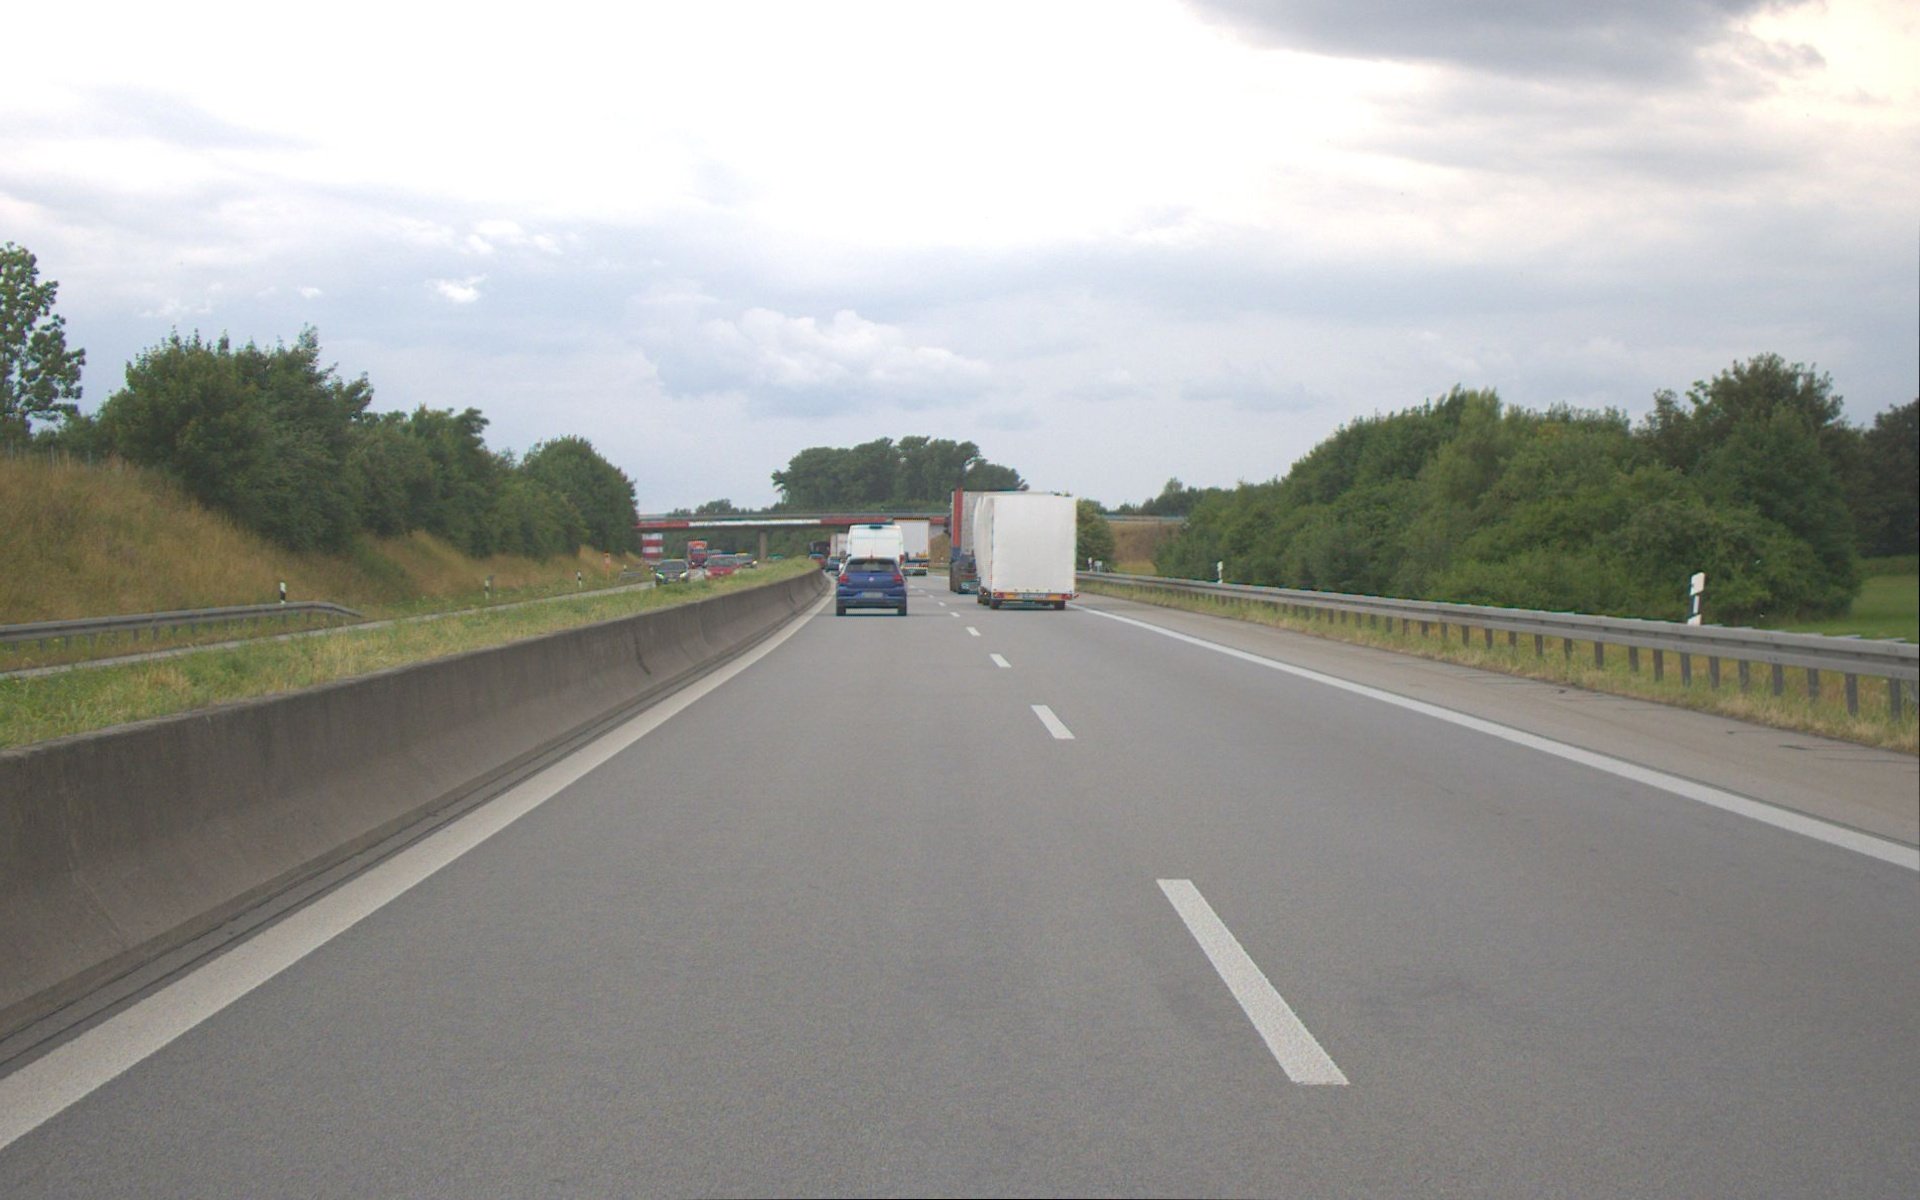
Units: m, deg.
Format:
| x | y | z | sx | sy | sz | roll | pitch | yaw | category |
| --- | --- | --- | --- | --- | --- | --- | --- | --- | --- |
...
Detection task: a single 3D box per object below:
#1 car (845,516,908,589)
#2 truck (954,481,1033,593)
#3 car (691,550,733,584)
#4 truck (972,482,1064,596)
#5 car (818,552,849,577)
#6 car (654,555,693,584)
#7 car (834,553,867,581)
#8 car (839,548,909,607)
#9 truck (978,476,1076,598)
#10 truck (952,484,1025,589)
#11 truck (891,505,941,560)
| x | y | z | sx | sy | sz | roll | pitch | yaw | category |
| --- | --- | --- | --- | --- | --- | --- | --- | --- | --- |
| -2.976 | -1.675 | 121.127 | 2.130 | 2.474 | 5.840 | -1 | 1 | -2 | car |
| 1.198 | -2.410 | 130.890 | 2.673 | 4.032 | 11.108 | -1 | 1 | -1 | truck |
| -12.402 | -1.664 | 171.996 | 1.845 | 1.566 | 4.361 | -2 | 1 | -1 | car |
| 1.665 | -1.768 | 101.164 | 2.429 | 3.232 | 7.247 | 0 | 1 | -1 | truck |
| -8.850 | -2.485 | 240.175 | 1.993 | 1.678 | 4.001 | 0 | 1 | -4 | car |
| -15.938 | -1.700 | 191.406 | 1.845 | 1.492 | 4.580 | -3 | 1 | -1 | car |
| -6.618 | -2.016 | 207.984 | 1.935 | 1.638 | 4.903 | -1 | 1 | -1 | car |
| -2.076 | -0.566 | 83.332 | 1.663 | 1.402 | 3.649 | 0 | 1 | -1 | car |
| 1.792 | -1.694 | 93.972 | 2.415 | 3.211 | 7.144 | 0 | 1 | -1 | truck |
| 1.104 | -2.522 | 136.222 | 2.673 | 4.032 | 5.513 | -1 | 1 | -1 | truck |
| -3.159 | -4.715 | 243.081 | 3.110 | 3.677 | 9.324 | -3 | 1 | -3 | truck |
